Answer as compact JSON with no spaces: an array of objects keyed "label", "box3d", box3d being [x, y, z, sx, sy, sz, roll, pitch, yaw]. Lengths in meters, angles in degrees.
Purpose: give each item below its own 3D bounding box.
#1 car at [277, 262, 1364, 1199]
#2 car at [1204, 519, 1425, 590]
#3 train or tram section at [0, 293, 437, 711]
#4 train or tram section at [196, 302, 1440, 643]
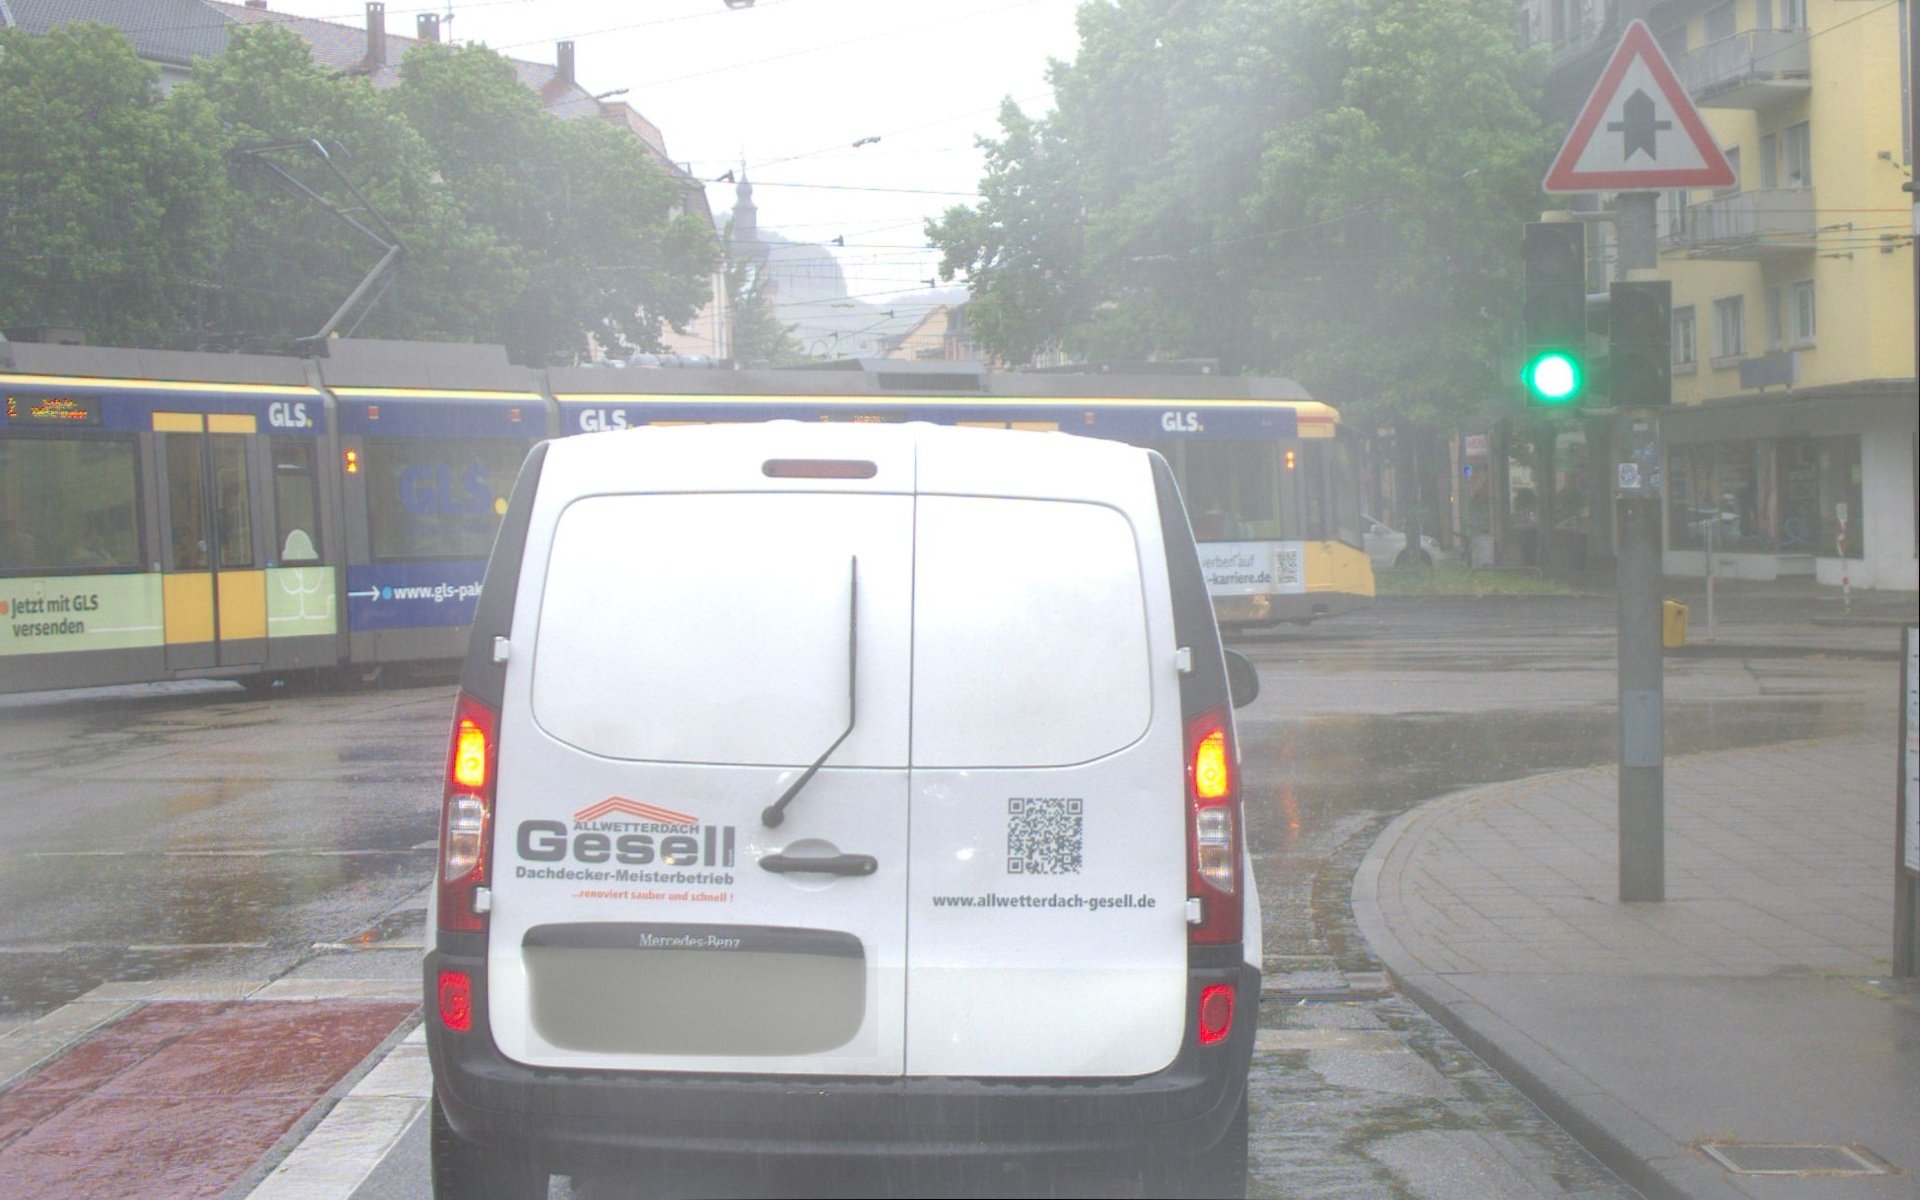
[{"label":"car","box3d":[-0.298,0.327,9.164,2.100,2.005,4.963,0,1,-1]},{"label":"car","box3d":[7.115,-0.923,69.084,4.165,1.334,1.521,-1,2,-7]},{"label":"train or tram section","box3d":[-9.760,-0.861,29.307,3.518,3.500,13.641,1,1,25]},{"label":"train or tram section","box3d":[-1.062,-1.275,40.501,15.457,3.401,3.551,0,1,-38]}]
